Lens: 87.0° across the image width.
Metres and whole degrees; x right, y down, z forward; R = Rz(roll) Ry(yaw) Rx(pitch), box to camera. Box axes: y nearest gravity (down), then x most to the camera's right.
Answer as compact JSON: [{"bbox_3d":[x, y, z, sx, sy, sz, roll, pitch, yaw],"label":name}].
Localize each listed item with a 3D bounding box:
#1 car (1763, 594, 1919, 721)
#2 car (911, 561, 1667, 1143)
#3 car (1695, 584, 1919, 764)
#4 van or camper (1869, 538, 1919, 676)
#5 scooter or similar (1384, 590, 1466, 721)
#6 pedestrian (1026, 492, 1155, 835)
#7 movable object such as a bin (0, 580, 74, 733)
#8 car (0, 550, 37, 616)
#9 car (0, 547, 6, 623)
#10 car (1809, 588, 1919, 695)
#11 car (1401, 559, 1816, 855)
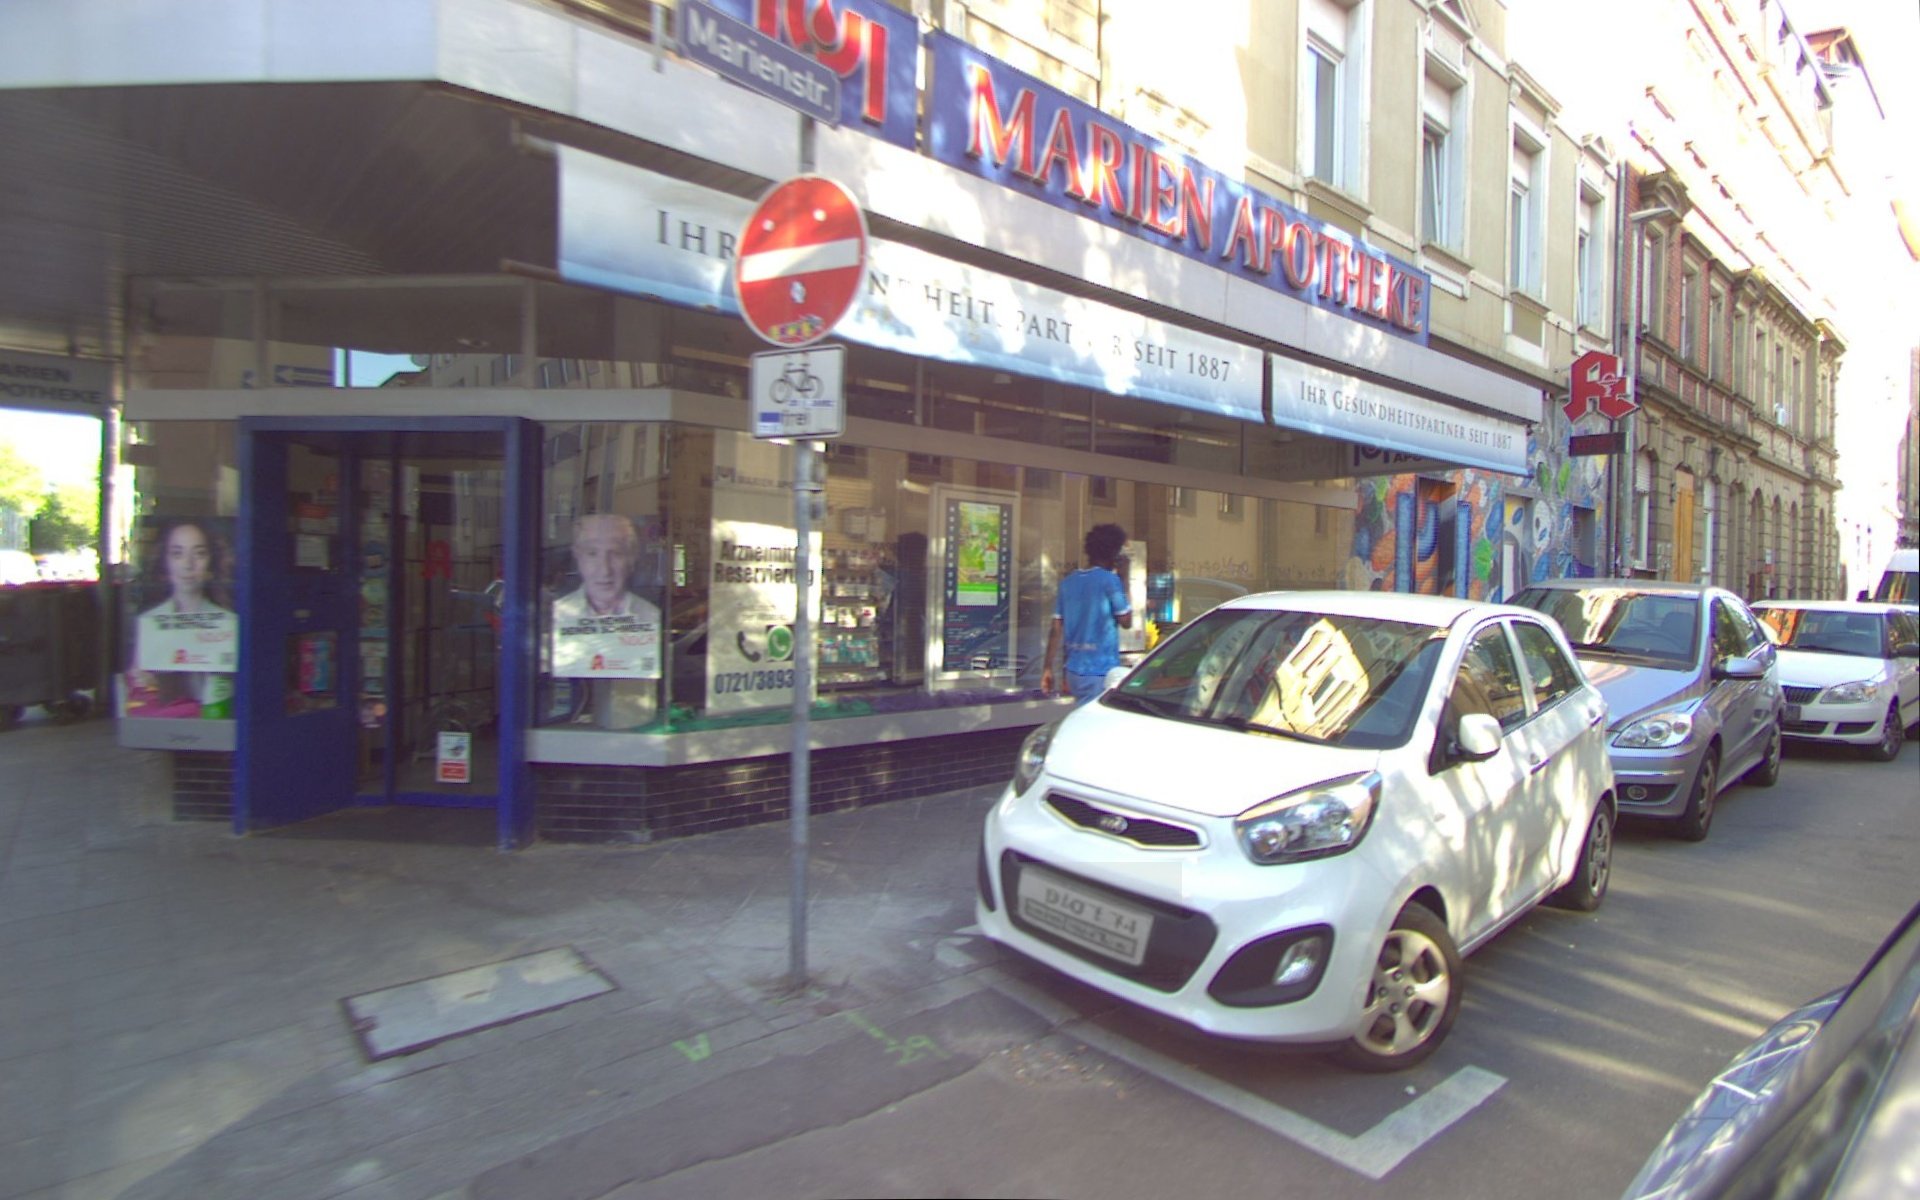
[{"bbox_3d":[12.671,0.681,14.056,3.842,1.505,1.590,-1,1,-39],"label":"car"},{"bbox_3d":[1.678,0.612,4.437,3.581,1.481,1.690,-1,1,-44],"label":"car"},{"bbox_3d":[9.258,0.608,10.673,4.127,1.545,1.557,-1,1,-41],"label":"car"},{"bbox_3d":[20.912,0.100,21.257,5.875,2.665,1.997,-1,1,-41],"label":"van or camper"},{"bbox_3d":[4.850,0.549,10.546,1.019,1.296,0.395,-1,0,-41],"label":"scooter or similar"},{"bbox_3d":[0.776,0.348,6.046,0.521,1.917,0.562,0,0,-41],"label":"pedestrian"},{"bbox_3d":[-8.533,0.482,9.061,0.847,1.300,1.019,-2,1,-40],"label":"movable object such as a bin"},{"bbox_3d":[-31.443,-0.559,33.129,1.702,2.058,4.192,-1,1,-41],"label":"car"},{"bbox_3d":[-25.148,-0.372,25.307,1.702,1.895,3.937,-1,1,-41],"label":"car"},{"bbox_3d":[16.480,0.628,17.572,4.484,1.667,1.997,-1,1,-41],"label":"car"},{"bbox_3d":[5.081,0.574,7.699,3.995,1.671,1.702,-1,1,-42],"label":"car"}]
